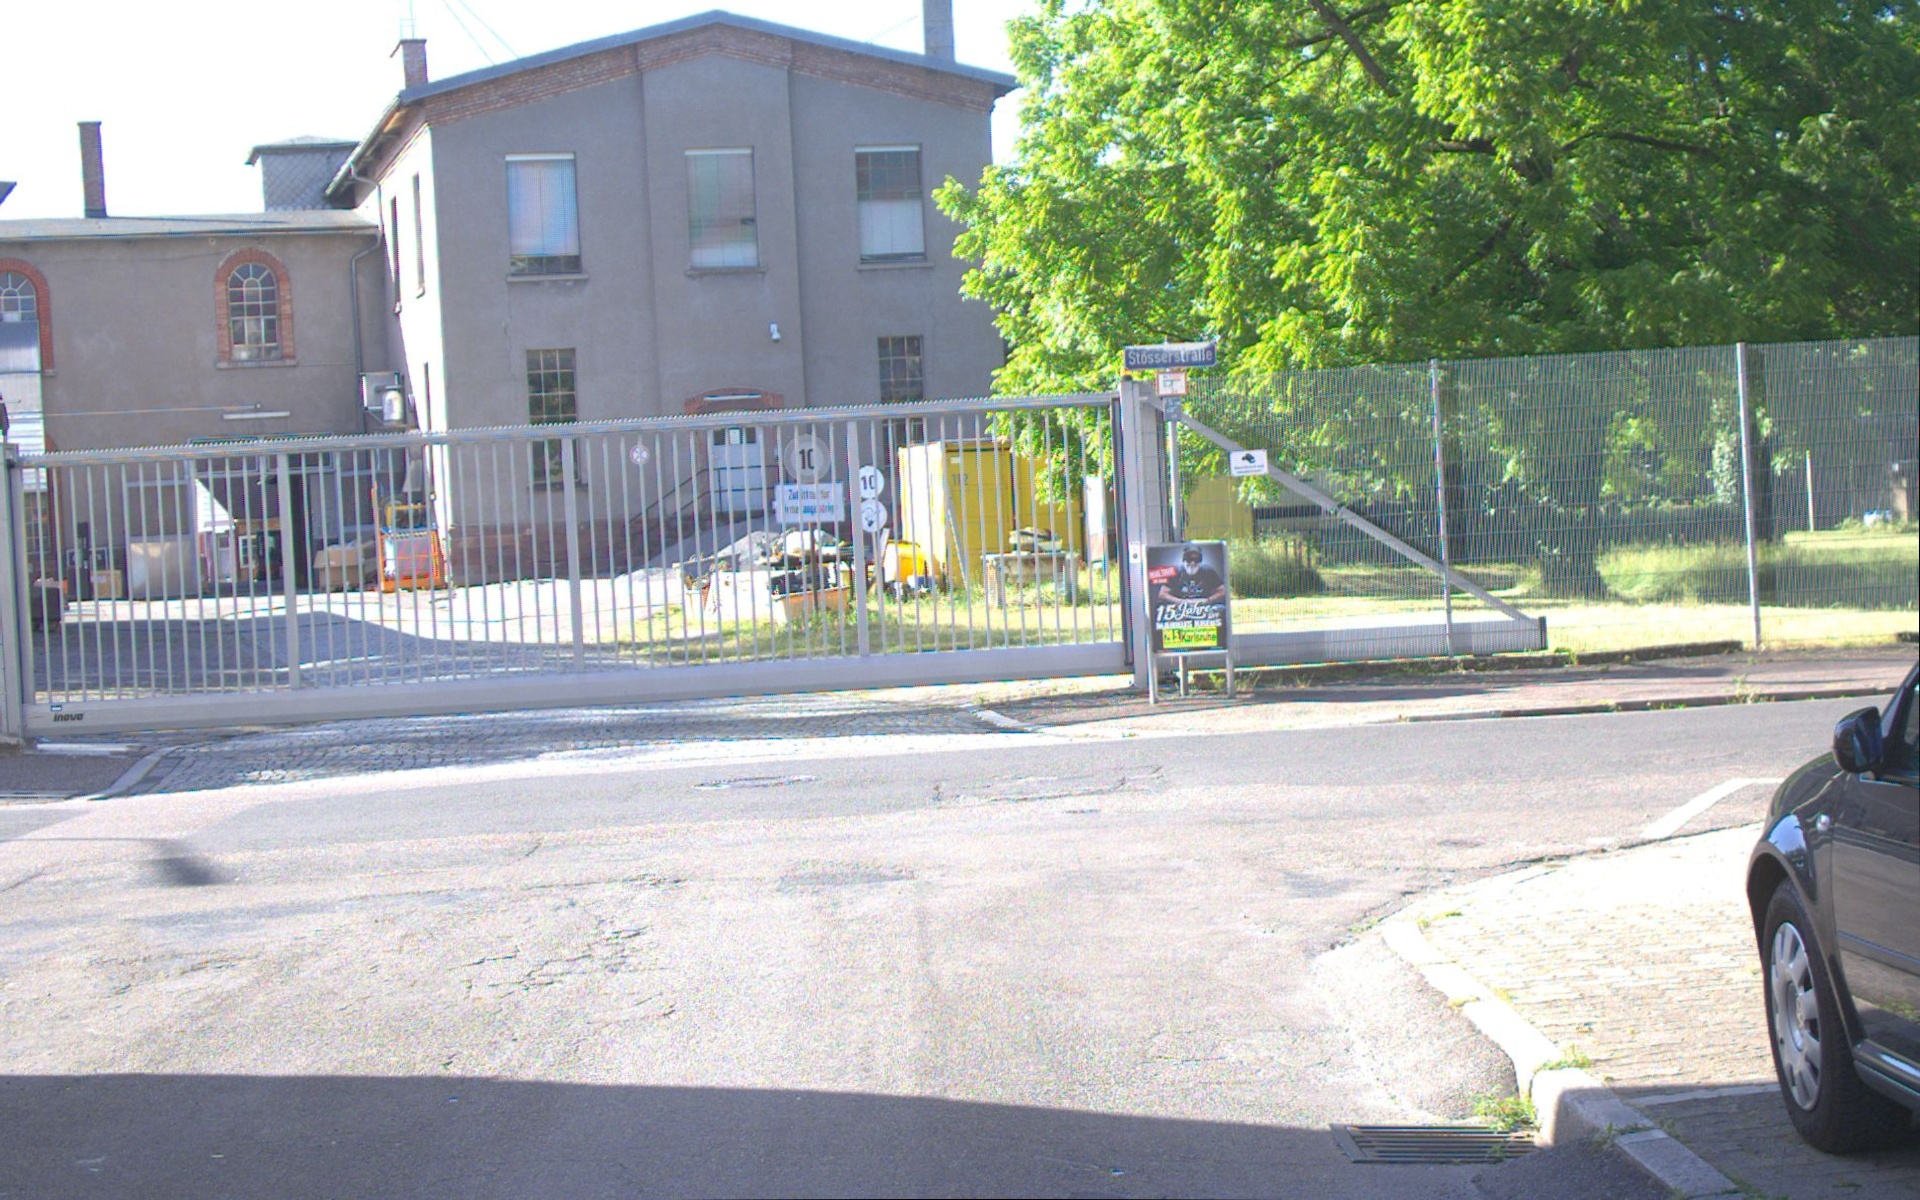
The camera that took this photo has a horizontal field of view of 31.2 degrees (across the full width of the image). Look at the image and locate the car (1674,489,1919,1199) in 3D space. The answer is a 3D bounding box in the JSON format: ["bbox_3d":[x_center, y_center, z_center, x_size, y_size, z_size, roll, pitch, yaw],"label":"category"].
[{"bbox_3d":[2.673,0.446,6.117,1.797,1.410,4.049,-6,1,-1],"label":"car"}]
